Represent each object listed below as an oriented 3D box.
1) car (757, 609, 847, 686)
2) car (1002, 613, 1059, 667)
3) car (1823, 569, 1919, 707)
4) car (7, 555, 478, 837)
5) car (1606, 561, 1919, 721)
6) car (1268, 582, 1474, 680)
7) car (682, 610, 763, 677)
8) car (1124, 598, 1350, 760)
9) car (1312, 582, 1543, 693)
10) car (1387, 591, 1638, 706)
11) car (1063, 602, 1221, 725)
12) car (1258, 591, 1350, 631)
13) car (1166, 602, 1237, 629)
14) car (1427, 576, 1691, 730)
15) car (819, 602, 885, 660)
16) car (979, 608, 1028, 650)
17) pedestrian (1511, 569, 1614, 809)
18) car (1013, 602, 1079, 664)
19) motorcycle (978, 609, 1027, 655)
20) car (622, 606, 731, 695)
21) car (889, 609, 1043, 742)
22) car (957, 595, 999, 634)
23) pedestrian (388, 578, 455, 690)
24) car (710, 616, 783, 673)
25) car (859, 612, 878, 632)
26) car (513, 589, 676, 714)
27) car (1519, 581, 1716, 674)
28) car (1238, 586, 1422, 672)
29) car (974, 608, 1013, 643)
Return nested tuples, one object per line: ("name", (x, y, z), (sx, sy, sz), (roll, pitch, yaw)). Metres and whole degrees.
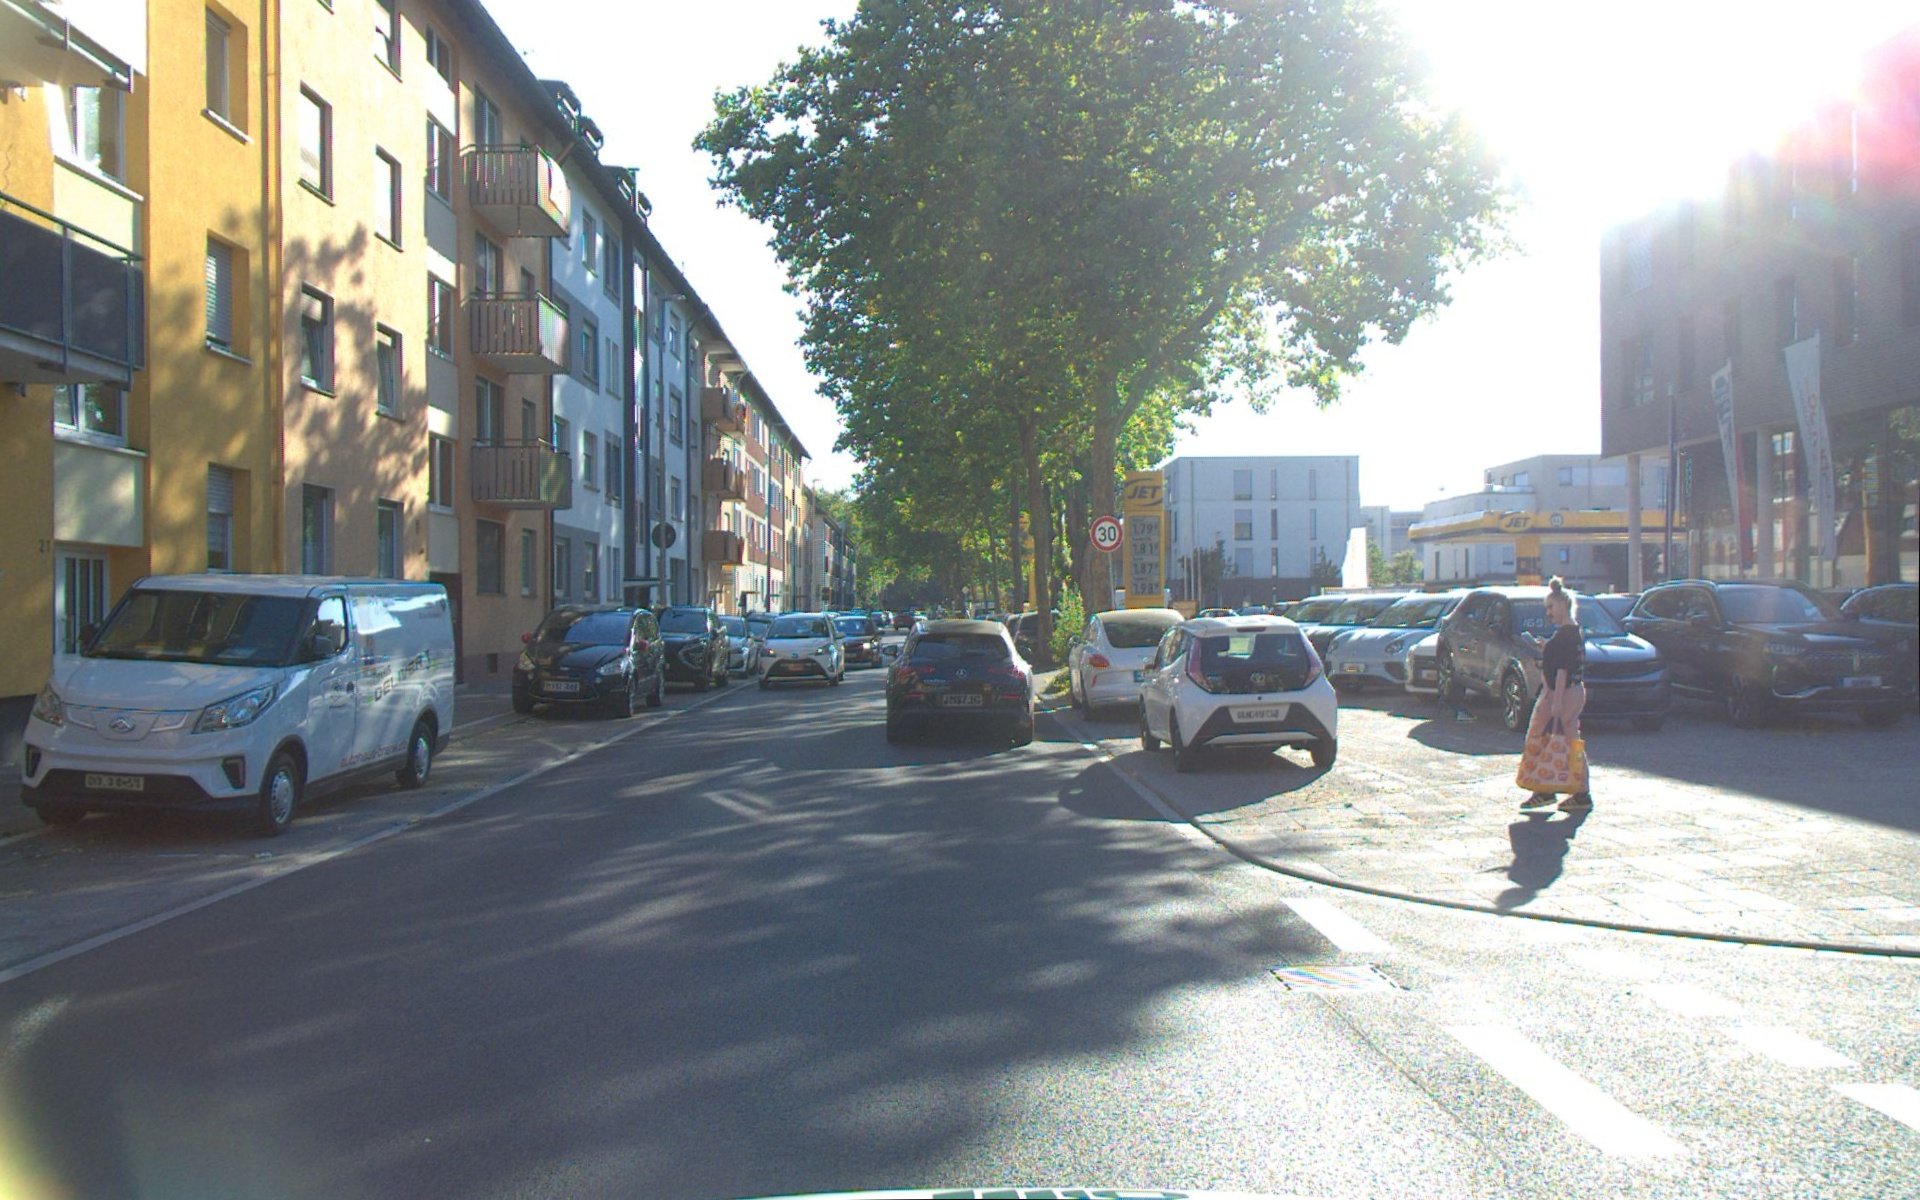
("car", (-3.351, 0.971, 35.573), (1.606, 1.550, 3.933), (0, 0, -1))
("car", (2.188, 1.234, 52.118), (1.528, 1.624, 3.599), (1, -1, -2))
("car", (12.827, 0.463, 20.717), (1.692, 1.714, 4.178), (-1, 0, -3))
("car", (-5.728, 0.673, 14.060), (1.698, 1.940, 5.208), (0, 0, 0))
("car", (9.929, 0.465, 20.692), (1.789, 1.762, 4.365), (-1, 0, -3))
("car", (7.584, 0.535, 30.364), (3.781, 1.606, 1.717), (-2, 0, -38))
("car", (-5.825, 1.037, 40.933), (1.516, 1.550, 4.003), (1, 0, -2))
("car", (2.860, 0.789, 17.907), (1.602, 1.493, 4.019), (-2, -1, -2))
("car", (7.770, 0.572, 27.367), (3.778, 1.638, 1.719), (-2, 0, -36))
("car", (8.318, 0.678, 24.833), (3.774, 1.572, 1.643), (-1, 0, -35))
("car", (2.609, 0.894, 24.694), (1.773, 1.565, 4.582), (-3, -1, 0))
("car", (15.932, 0.491, 76.547), (3.768, 1.741, 1.831), (-1, 0, -19))
("car", (14.373, 0.926, 98.493), (3.907, 1.556, 1.806), (0, -2, -3))
("car", (7.286, 0.595, 20.582), (1.716, 1.699, 4.157), (-1, 0, -1))
("car", (-3.063, 0.850, 47.651), (1.630, 1.550, 4.411), (-2, 0, -1))
("car", (1.696, 1.131, 65.379), (1.687, 1.585, 3.599), (1, -1, -2))
("pedestrian", (4.588, 0.657, 12.579), (0.677, 1.753, 0.721), (-1, -1, 22))
("car", (2.363, 0.913, 46.036), (1.528, 1.624, 3.599), (1, -1, -2))
("motorcycle", (1.488, 1.142, 58.145), (1.619, 1.585, 0.607), (1, -1, -23))
("car", (-5.700, 0.964, 33.743), (1.564, 1.670, 4.410), (1, 0, -2))
("car", (0.163, 0.870, 20.802), (1.708, 1.469, 3.970), (1, 0, 3))
("car", (0.959, 0.826, 90.733), (1.954, 2.049, 3.996), (0, -2, -4))
("pedestrian", (-8.901, 0.557, 27.386), (0.750, 1.800, 0.933), (2, -1, -1))
("car", (-5.986, 1.222, 46.762), (1.564, 1.459, 4.216), (1, 0, -1))
("car", (-9.598, 2.316, 173.994), (1.868, 1.982, 3.998), (0, -2, -2))
("car", (-5.794, 0.763, 26.740), (1.710, 1.819, 4.547), (1, 0, -2))
("car", (12.137, 0.465, 30.462), (3.778, 1.537, 1.622), (-2, 0, -37))
("car", (7.671, 0.566, 34.164), (3.781, 1.606, 1.722), (-2, 0, -38))
("car", (1.546, 1.206, 77.435), (1.600, 1.585, 3.599), (1, -1, -2))
